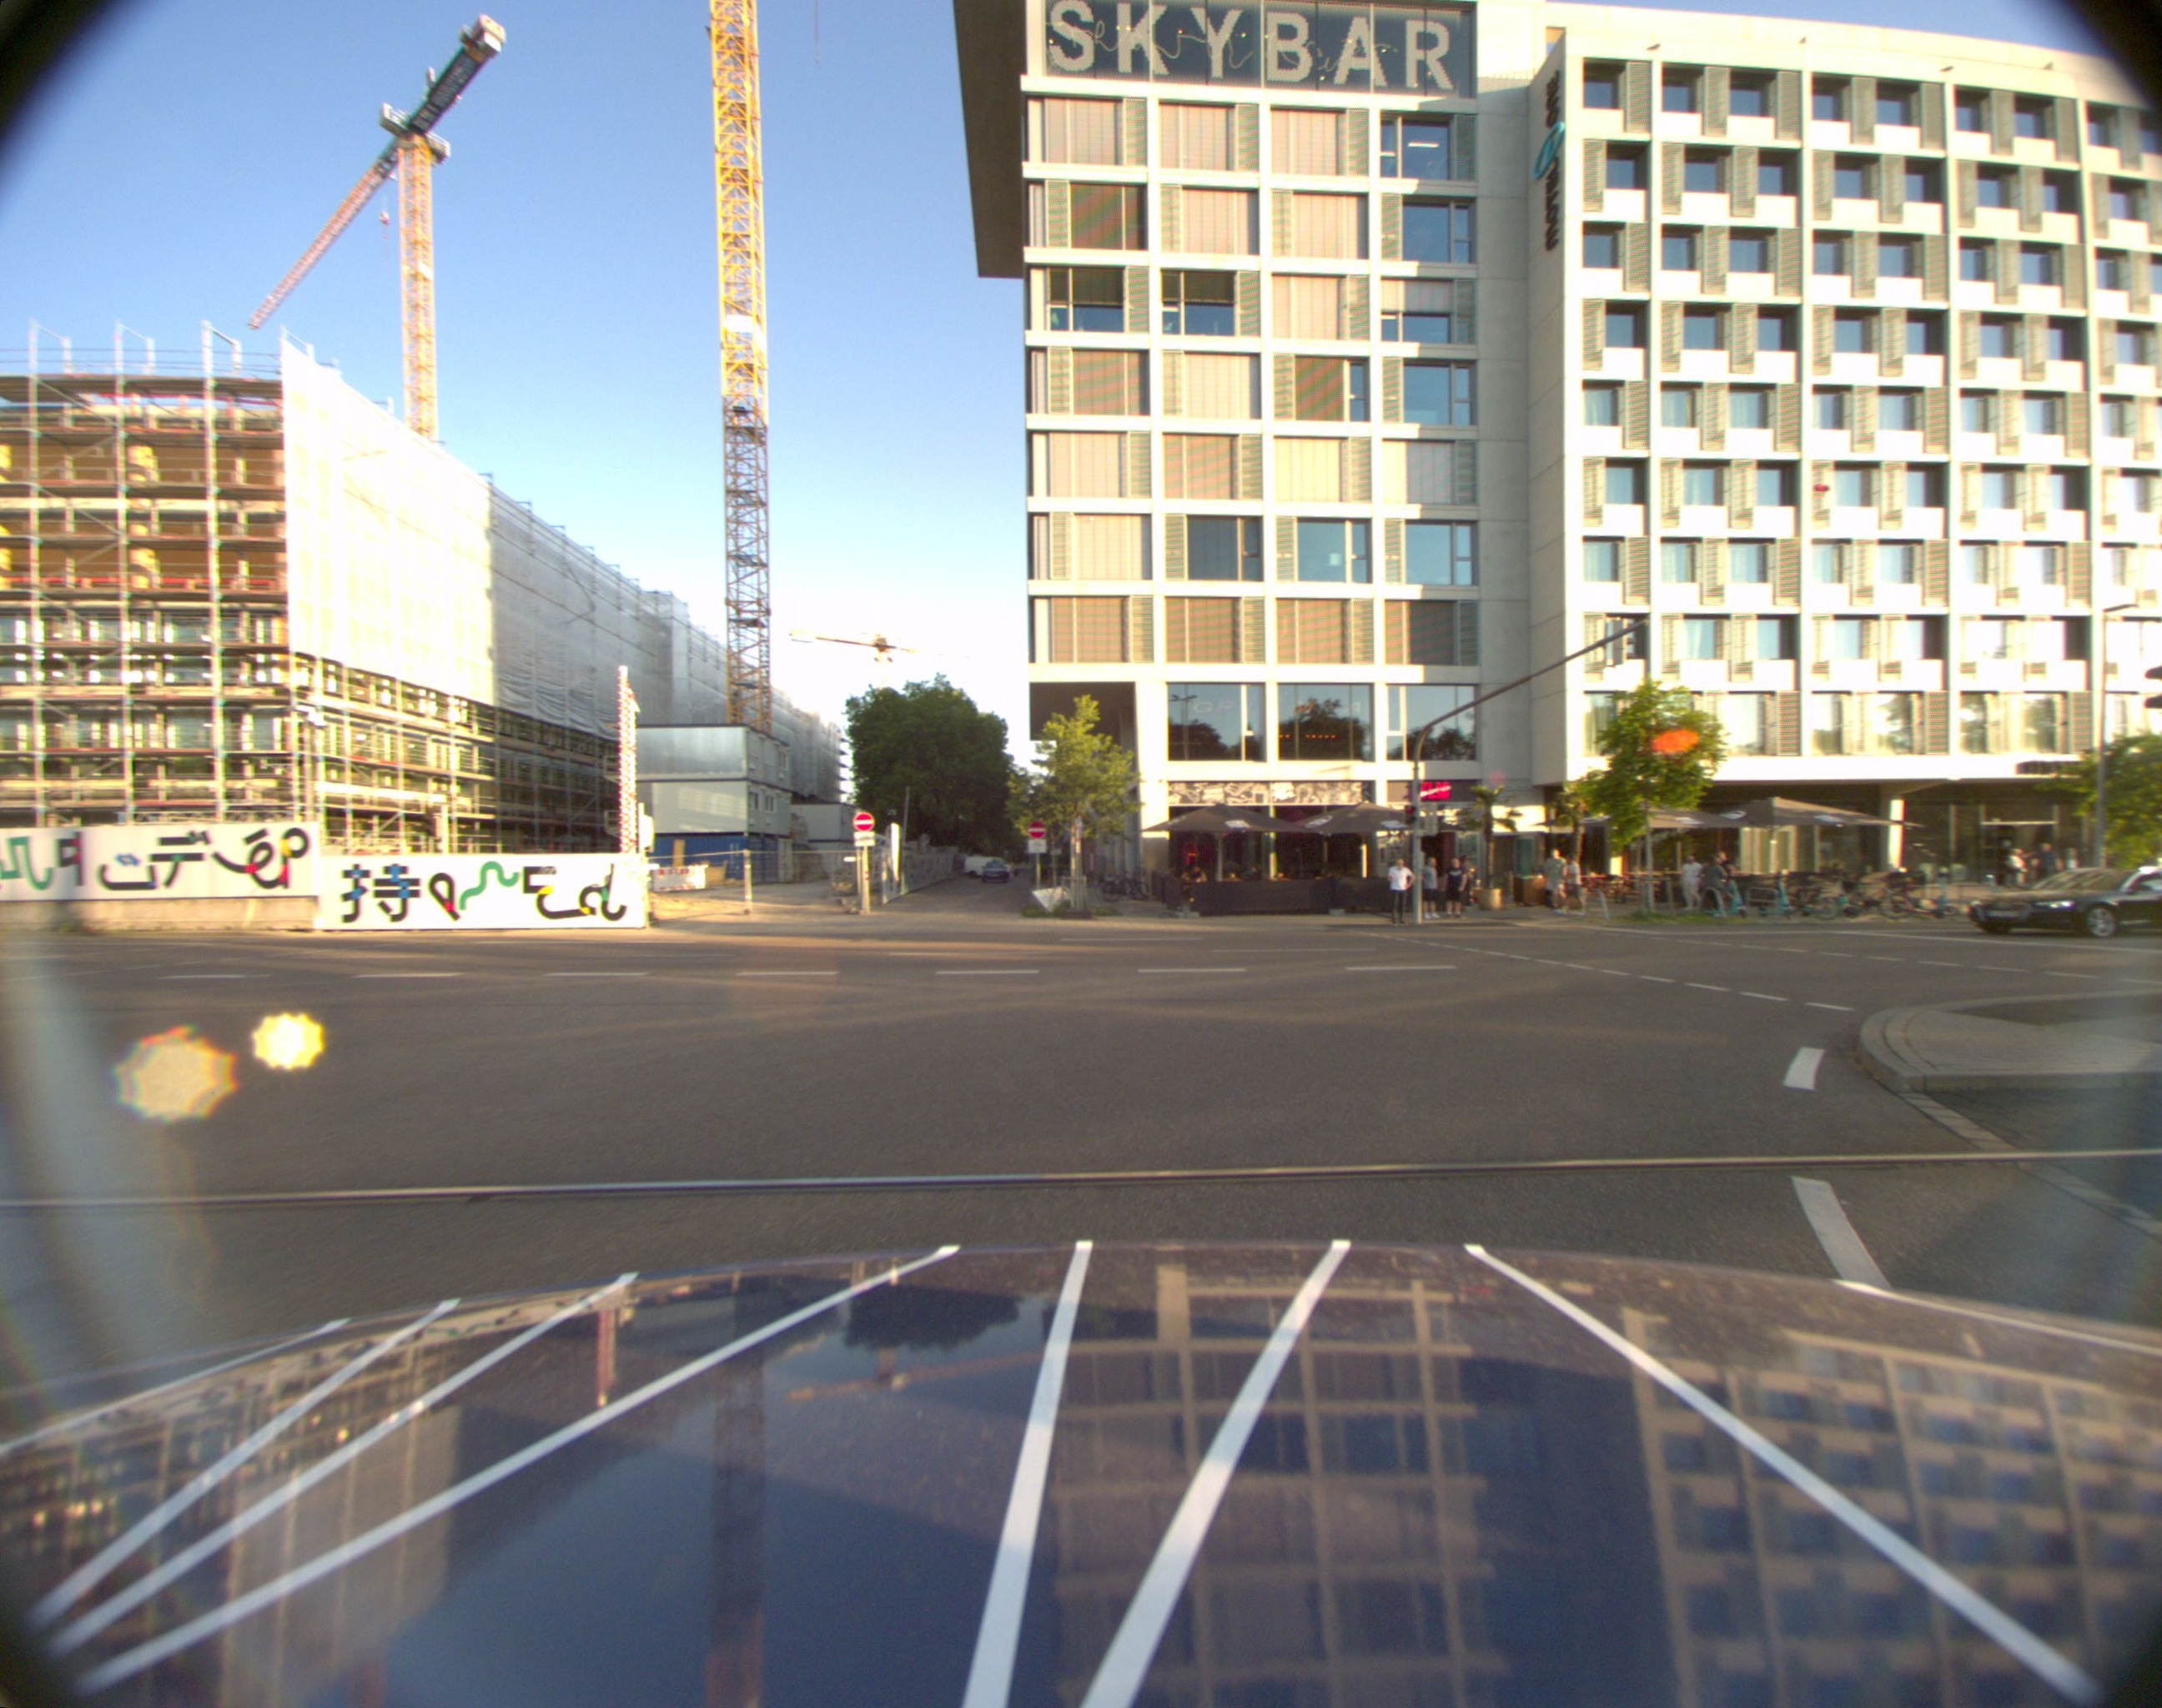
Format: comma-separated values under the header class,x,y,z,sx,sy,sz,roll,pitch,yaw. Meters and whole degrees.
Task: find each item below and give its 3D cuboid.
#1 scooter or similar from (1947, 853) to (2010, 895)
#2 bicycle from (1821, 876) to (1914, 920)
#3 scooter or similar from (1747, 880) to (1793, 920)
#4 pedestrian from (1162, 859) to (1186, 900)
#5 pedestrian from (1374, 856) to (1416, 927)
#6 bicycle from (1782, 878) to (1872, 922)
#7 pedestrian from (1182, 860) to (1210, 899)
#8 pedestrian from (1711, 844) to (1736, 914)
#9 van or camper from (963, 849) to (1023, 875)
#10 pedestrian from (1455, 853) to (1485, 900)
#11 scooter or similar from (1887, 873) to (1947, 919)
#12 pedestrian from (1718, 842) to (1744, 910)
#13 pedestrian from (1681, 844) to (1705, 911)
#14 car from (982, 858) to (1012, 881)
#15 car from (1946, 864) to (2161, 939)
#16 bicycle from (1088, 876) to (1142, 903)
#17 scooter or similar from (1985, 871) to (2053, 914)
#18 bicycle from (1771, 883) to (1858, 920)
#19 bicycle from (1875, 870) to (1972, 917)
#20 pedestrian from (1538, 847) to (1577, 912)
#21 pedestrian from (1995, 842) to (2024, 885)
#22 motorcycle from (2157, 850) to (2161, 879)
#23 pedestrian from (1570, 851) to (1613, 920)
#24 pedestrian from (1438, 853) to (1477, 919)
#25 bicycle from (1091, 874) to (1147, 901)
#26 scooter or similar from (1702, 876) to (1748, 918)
class,x,y,z,sx,sy,sz,roll,pitch,yaw
scooter or similar,25.389,0.544,21.509,0.338,1.157,1.185,-1,1,-4
bicycle,22.049,1.212,21.362,0.443,1.053,1.913,-1,2,-7
scooter or similar,19.191,1.274,21.174,0.291,1.028,1.009,1,1,-4
pedestrian,3.353,0.905,27.430,0.772,1.454,0.605,-1,1,-4
pedestrian,8.399,0.987,20.356,0.762,1.826,0.708,-1,3,-6
bicycle,20.763,1.251,21.204,0.443,1.053,1.913,-1,2,-7
pedestrian,4.206,0.914,27.822,0.773,1.406,0.605,-1,1,-20
pedestrian,18.880,0.722,22.329,0.550,2.002,0.503,0,1,37
van or camper,-8.031,0.719,69.700,4.948,2.110,2.493,-3,0,7
pedestrian,13.582,0.772,26.569,0.708,1.594,0.681,0,1,3
scooter or similar,23.394,1.163,21.287,0.338,1.210,1.185,-1,1,-4
pedestrian,19.413,0.642,22.707,0.550,2.002,0.503,0,1,37
pedestrian,18.615,0.698,23.103,0.550,2.002,0.503,0,1,37
car,-6.270,1.113,57.031,2.008,1.588,3.705,-1,0,-3
car,21.344,0.960,16.064,4.223,1.431,1.891,-1,-1,-6
bicycle,1.268,1.332,28.695,1.978,0.869,0.394,-2,3,-6
scooter or similar,26.583,1.081,21.548,0.338,1.052,1.184,-2,5,-3
bicycle,20.343,1.303,21.129,0.443,0.865,1.869,-1,2,-7
bicycle,24.008,1.100,21.700,0.443,1.193,1.913,-1,2,-7
pedestrian,14.529,0.768,23.172,0.708,1.913,0.680,-1,3,-3
pedestrian,35.824,0.362,29.325,0.516,1.647,0.429,-1,3,-3
motorcycle,44.609,0.436,30.290,0.516,1.165,1.894,-1,1,-19
pedestrian,14.683,0.887,21.859,0.708,1.913,0.680,-1,3,-2
pedestrian,10.761,0.892,21.748,0.681,1.826,0.708,0,3,-6
bicycle,1.395,1.225,27.797,1.978,0.869,0.394,-2,3,-6
scooter or similar,18.070,1.185,21.326,0.338,1.079,0.974,2,3,-4
